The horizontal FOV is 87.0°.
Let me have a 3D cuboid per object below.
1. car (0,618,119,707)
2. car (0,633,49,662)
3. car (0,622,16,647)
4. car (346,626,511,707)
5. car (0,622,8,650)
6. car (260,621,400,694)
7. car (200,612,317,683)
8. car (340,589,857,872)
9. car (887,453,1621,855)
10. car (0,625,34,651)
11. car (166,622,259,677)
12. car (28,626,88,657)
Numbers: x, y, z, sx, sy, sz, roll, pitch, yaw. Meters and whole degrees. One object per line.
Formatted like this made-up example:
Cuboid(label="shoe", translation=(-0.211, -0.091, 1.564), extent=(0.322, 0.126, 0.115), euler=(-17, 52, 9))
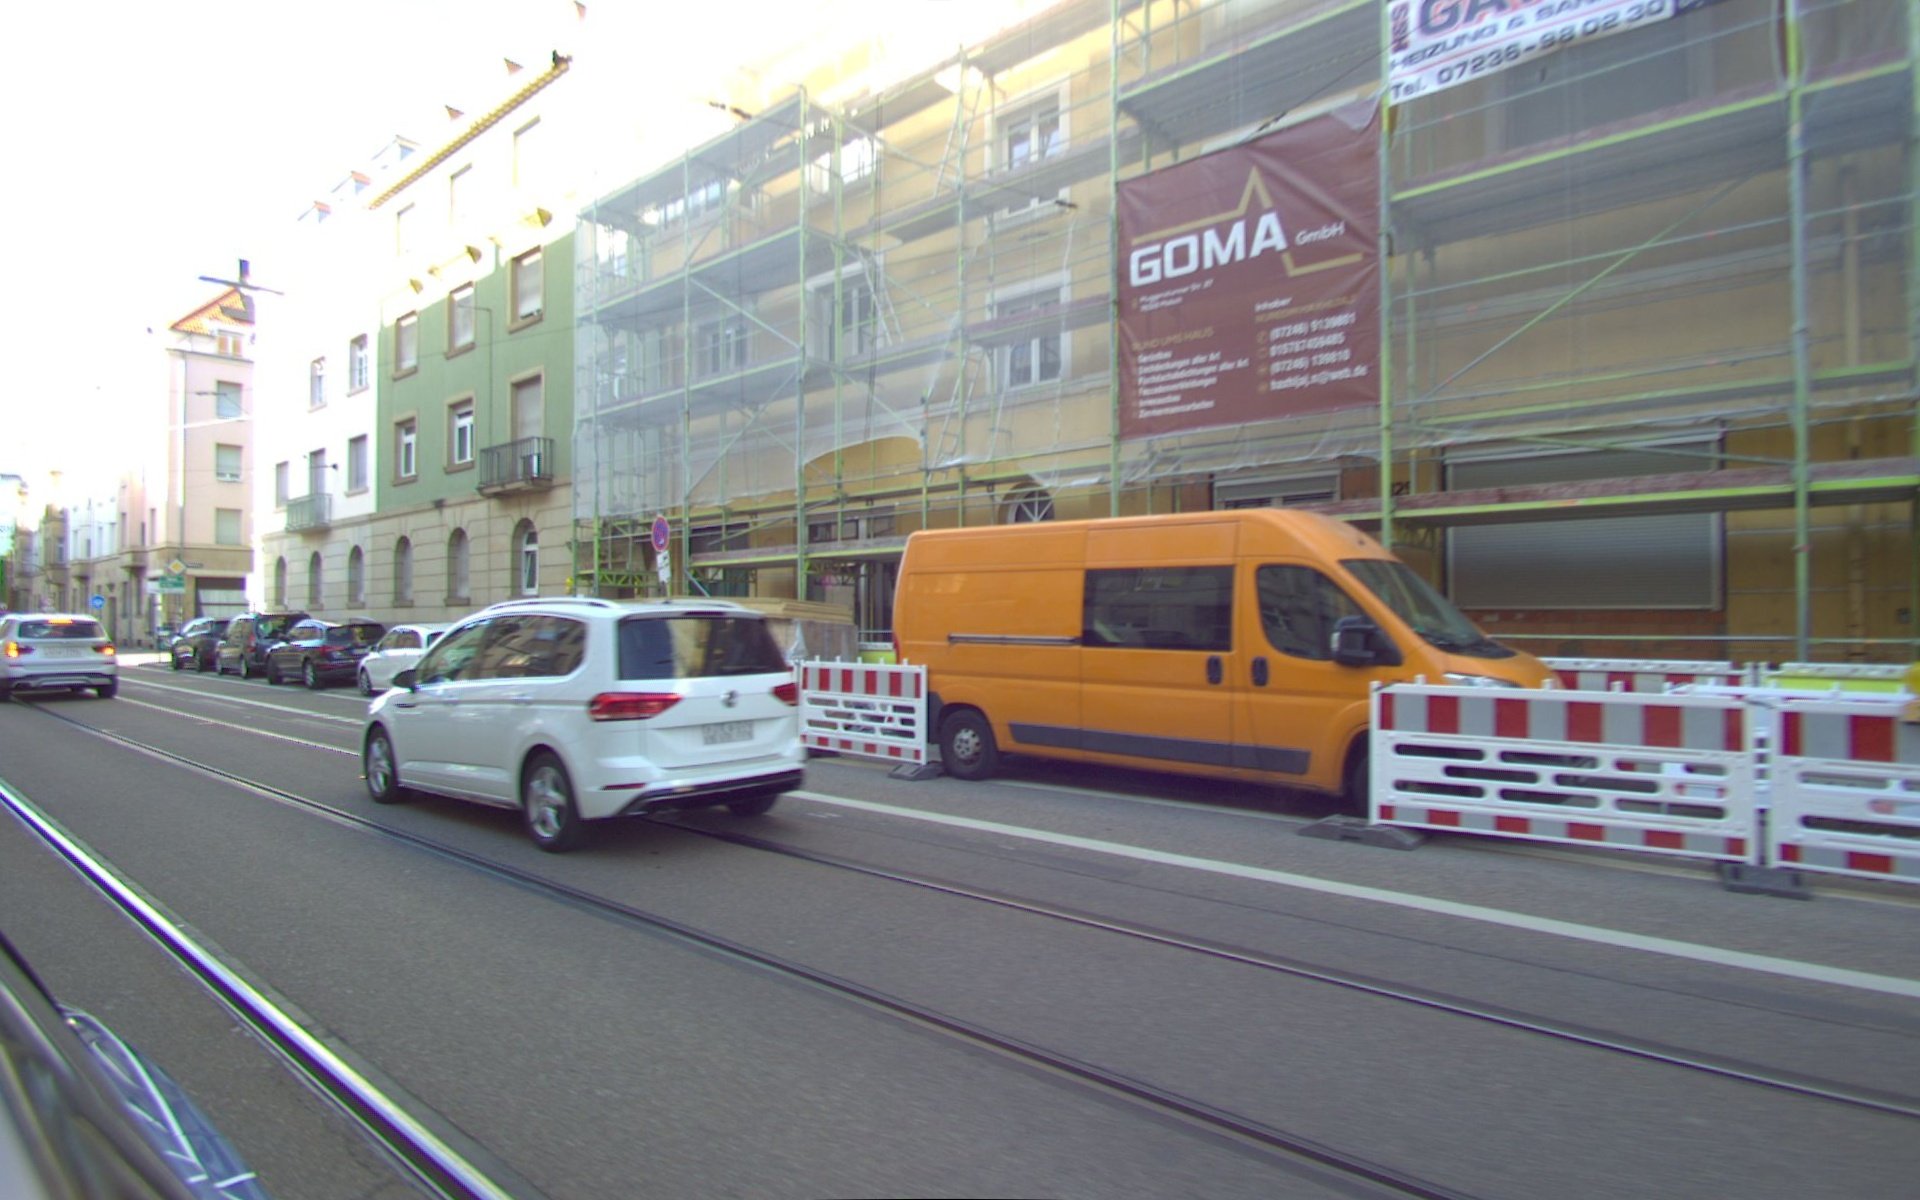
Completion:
Cuboid(label="car", translation=(-18.484, 1.191, 20.306), extent=(4.290, 1.619, 1.749), euler=(-1, -2, 40))
Cuboid(label="car", translation=(-54.498, 2.746, 58.910), extent=(3.768, 1.514, 1.775), euler=(-1, 1, 41))
Cuboid(label="car", translation=(-62.737, 2.238, 65.707), extent=(3.768, 1.514, 1.775), euler=(-1, 1, 41))
Cuboid(label="car", translation=(-11.099, 1.306, 21.033), extent=(3.998, 1.523, 1.728), euler=(-1, -2, 41))
Cuboid(label="car", translation=(-69.751, 2.574, 72.397), extent=(3.998, 2.029, 1.973), euler=(-1, -2, 41))
Cuboid(label="car", translation=(-15.578, 1.355, 24.953), extent=(4.219, 1.590, 1.681), euler=(-1, 0, 40))
Cuboid(label="car", translation=(-20.057, 1.308, 28.887), extent=(3.766, 1.860, 1.776), euler=(-1, 0, 40))
Cuboid(label="car", translation=(-2.902, 0.786, 7.693), extent=(4.197, 1.580, 1.803), euler=(-1, -2, 39))
Cuboid(label="car", translation=(2.186, 0.408, 9.060), extent=(5.997, 2.488, 2.097), euler=(-1, -2, 42))
Cuboid(label="car", translation=(-58.793, 2.321, 62.594), extent=(3.767, 1.514, 1.775), euler=(-1, 1, 41))
Cuboid(label="car", translation=(-23.809, 1.526, 32.185), extent=(3.770, 1.622, 1.774), euler=(-2, -2, 44))
Cuboid(label="car", translation=(-46.876, 2.126, 52.572), extent=(3.766, 1.514, 1.776), euler=(-1, 0, 40))
